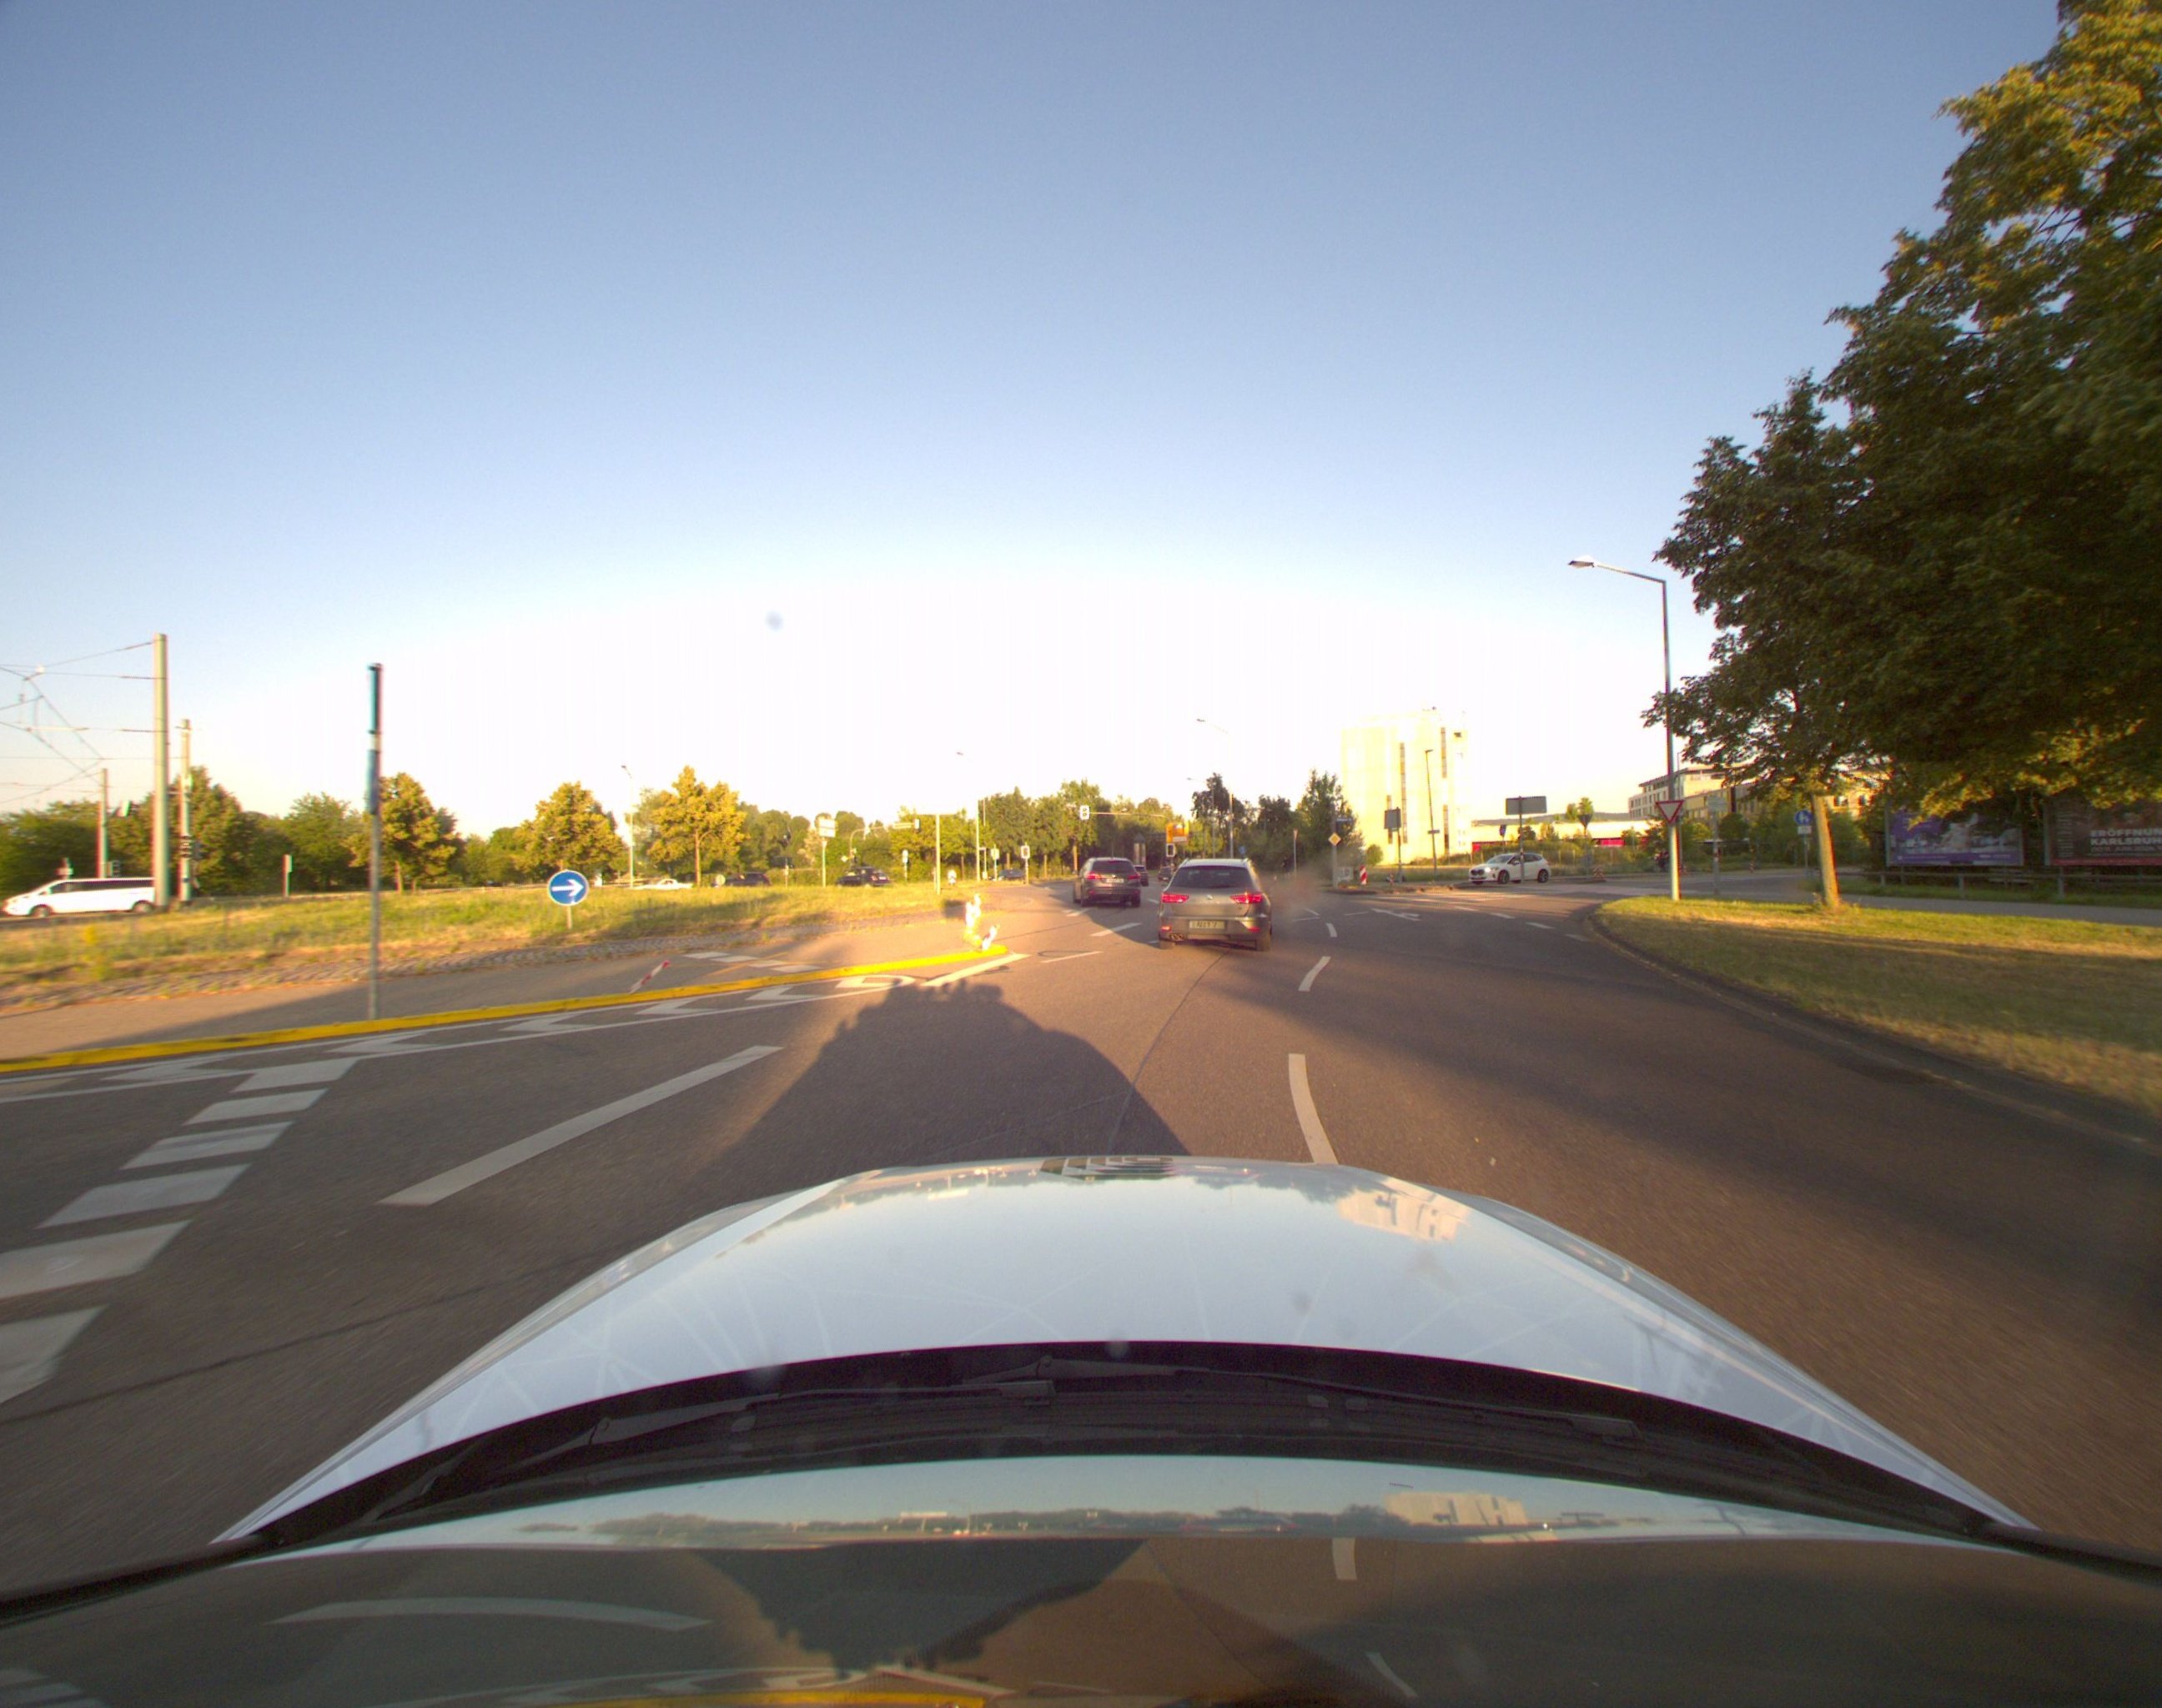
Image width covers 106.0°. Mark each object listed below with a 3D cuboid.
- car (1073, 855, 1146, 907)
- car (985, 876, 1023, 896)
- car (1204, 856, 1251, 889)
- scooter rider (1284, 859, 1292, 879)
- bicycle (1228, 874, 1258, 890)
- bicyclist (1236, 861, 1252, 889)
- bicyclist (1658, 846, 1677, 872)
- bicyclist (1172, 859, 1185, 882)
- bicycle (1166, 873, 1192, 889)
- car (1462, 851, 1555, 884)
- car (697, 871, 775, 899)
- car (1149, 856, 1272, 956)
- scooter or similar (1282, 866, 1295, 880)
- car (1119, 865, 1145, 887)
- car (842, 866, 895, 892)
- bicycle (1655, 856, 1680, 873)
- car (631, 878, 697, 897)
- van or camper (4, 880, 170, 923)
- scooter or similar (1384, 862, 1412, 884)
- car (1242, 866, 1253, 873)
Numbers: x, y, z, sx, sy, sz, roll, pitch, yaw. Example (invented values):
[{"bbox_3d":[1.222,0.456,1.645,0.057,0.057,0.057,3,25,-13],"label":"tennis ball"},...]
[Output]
[{"bbox_3d":[0.786,0.794,25.344,1.743,1.466,4.127,-1,-1,-5],"label":"car"},{"bbox_3d":[-7.253,2.983,77.076,1.731,1.748,4.620,-1,-1,20],"label":"car"},{"bbox_3d":[7.176,0.882,40.213,1.805,1.525,4.138,-1,-1,3],"label":"car"},{"bbox_3d":[13.900,1.012,54.724,0.265,1.339,0.403,-1,-1,-25],"label":"scooter rider"},{"bbox_3d":[11.361,1.971,57.160,1.906,1.085,0.459,-4,-2,20],"label":"bicycle"},{"bbox_3d":[11.436,1.469,57.113,0.899,1.898,0.644,-4,-2,20],"label":"bicyclist"},{"bbox_3d":[39.498,0.351,54.885,0.538,1.744,0.836,0,-2,-29],"label":"bicyclist"},{"bbox_3d":[7.482,1.283,62.708,0.761,1.702,0.644,-4,-2,20],"label":"bicyclist"},{"bbox_3d":[7.537,2.094,62.662,1.906,1.085,0.459,-4,-2,20],"label":"bicycle"},{"bbox_3d":[21.864,0.698,41.666,4.094,1.559,1.878,-1,-2,-19],"label":"car"},{"bbox_3d":[-23.358,2.054,55.198,4.618,1.748,1.732,-1,-1,-36],"label":"car"},{"bbox_3d":[2.340,0.773,13.817,1.734,1.424,4.149,-1,-1,13],"label":"car"},{"bbox_3d":[13.934,1.281,54.738,0.247,0.914,1.030,-1,-1,-24],"label":"scooter or similar"},{"bbox_3d":[3.646,1.576,58.776,1.738,1.489,4.137,-1,-1,3],"label":"car"},{"bbox_3d":[-12.716,1.467,48.660,1.759,1.446,4.090,-1,-1,-35],"label":"car"},{"bbox_3d":[39.534,0.699,54.915,0.281,1.089,1.360,0,-2,-28],"label":"bicycle"},{"bbox_3d":[-28.880,2.318,56.448,3.801,1.255,1.560,1,-2,-43],"label":"car"},{"bbox_3d":[-52.139,2.426,42.863,1.890,2.010,5.336,-2,-1,33],"label":"van or camper"},{"bbox_3d":[16.979,1.010,43.630,0.444,1.163,1.369,0,-1,-32],"label":"scooter or similar"},{"bbox_3d":[38.107,3.497,186.603,1.707,1.449,4.573,-1,-1,21],"label":"car"}]
